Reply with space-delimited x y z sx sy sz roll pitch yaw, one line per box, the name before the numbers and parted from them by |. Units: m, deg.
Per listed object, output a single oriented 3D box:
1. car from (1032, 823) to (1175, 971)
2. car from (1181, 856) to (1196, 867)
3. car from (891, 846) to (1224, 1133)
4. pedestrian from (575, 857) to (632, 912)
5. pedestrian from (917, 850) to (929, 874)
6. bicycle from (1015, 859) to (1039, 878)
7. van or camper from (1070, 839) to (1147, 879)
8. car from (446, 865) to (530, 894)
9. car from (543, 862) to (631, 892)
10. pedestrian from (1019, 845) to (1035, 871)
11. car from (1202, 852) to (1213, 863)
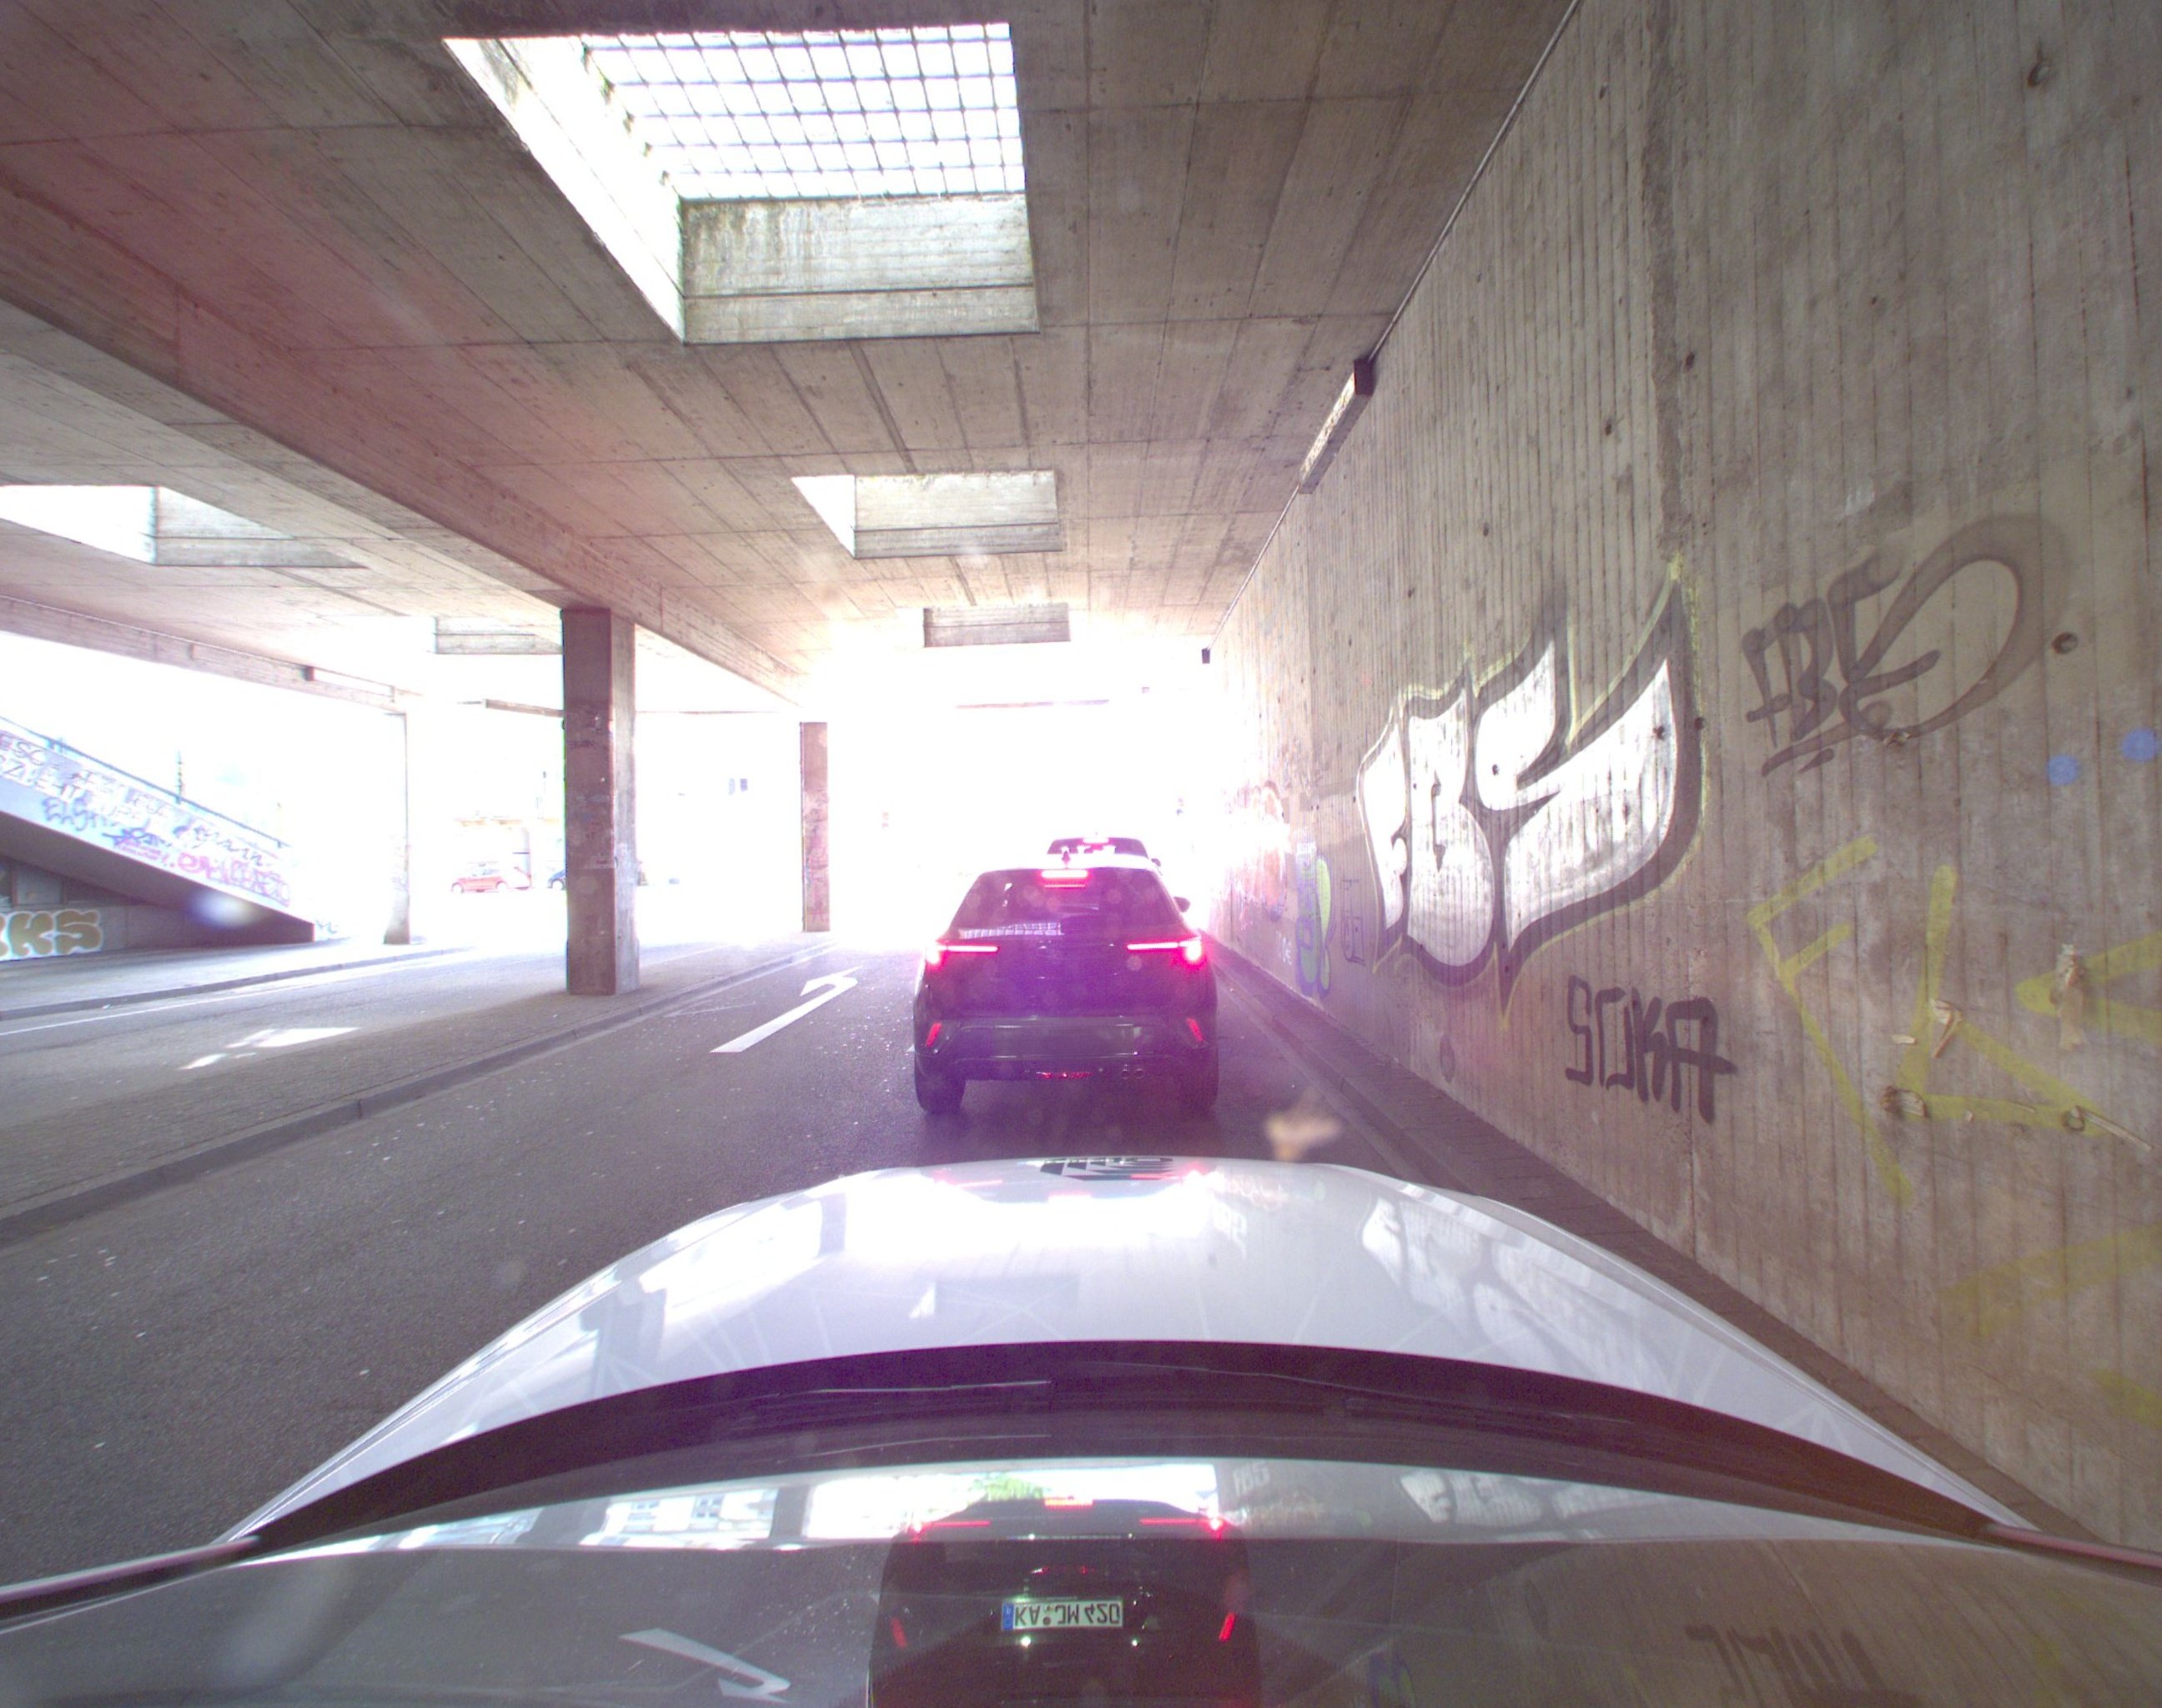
car | 0.355 0.538 12.195 1.779 1.833 3.962 -1 0 2
car | 14.709 0.996 111.408 1.587 1.452 3.808 -1 0 12
car | -0.051 0.710 6.278 1.746 1.498 4.002 0 0 2
pedestrian | -15.879 0.998 27.086 1.103 1.737 1.146 -1 0 15
pedestrian | -11.174 0.557 57.532 0.618 1.705 0.725 0 -1 12
bicycle | -3.421 0.894 51.575 0.730 1.130 2.036 -2 0 19
van or camper | 1.506 0.281 43.738 3.854 2.013 2.005 -1 0 9
car | -32.853 1.410 45.148 3.519 1.506 1.563 -1 0 2
car | -27.401 1.265 45.268 3.742 1.508 1.752 -2 0 0
pedestrian | -3.405 0.259 51.662 0.729 1.585 0.894 0 -1 18
car | 20.177 0.551 129.696 1.573 1.640 3.819 -1 0 12
